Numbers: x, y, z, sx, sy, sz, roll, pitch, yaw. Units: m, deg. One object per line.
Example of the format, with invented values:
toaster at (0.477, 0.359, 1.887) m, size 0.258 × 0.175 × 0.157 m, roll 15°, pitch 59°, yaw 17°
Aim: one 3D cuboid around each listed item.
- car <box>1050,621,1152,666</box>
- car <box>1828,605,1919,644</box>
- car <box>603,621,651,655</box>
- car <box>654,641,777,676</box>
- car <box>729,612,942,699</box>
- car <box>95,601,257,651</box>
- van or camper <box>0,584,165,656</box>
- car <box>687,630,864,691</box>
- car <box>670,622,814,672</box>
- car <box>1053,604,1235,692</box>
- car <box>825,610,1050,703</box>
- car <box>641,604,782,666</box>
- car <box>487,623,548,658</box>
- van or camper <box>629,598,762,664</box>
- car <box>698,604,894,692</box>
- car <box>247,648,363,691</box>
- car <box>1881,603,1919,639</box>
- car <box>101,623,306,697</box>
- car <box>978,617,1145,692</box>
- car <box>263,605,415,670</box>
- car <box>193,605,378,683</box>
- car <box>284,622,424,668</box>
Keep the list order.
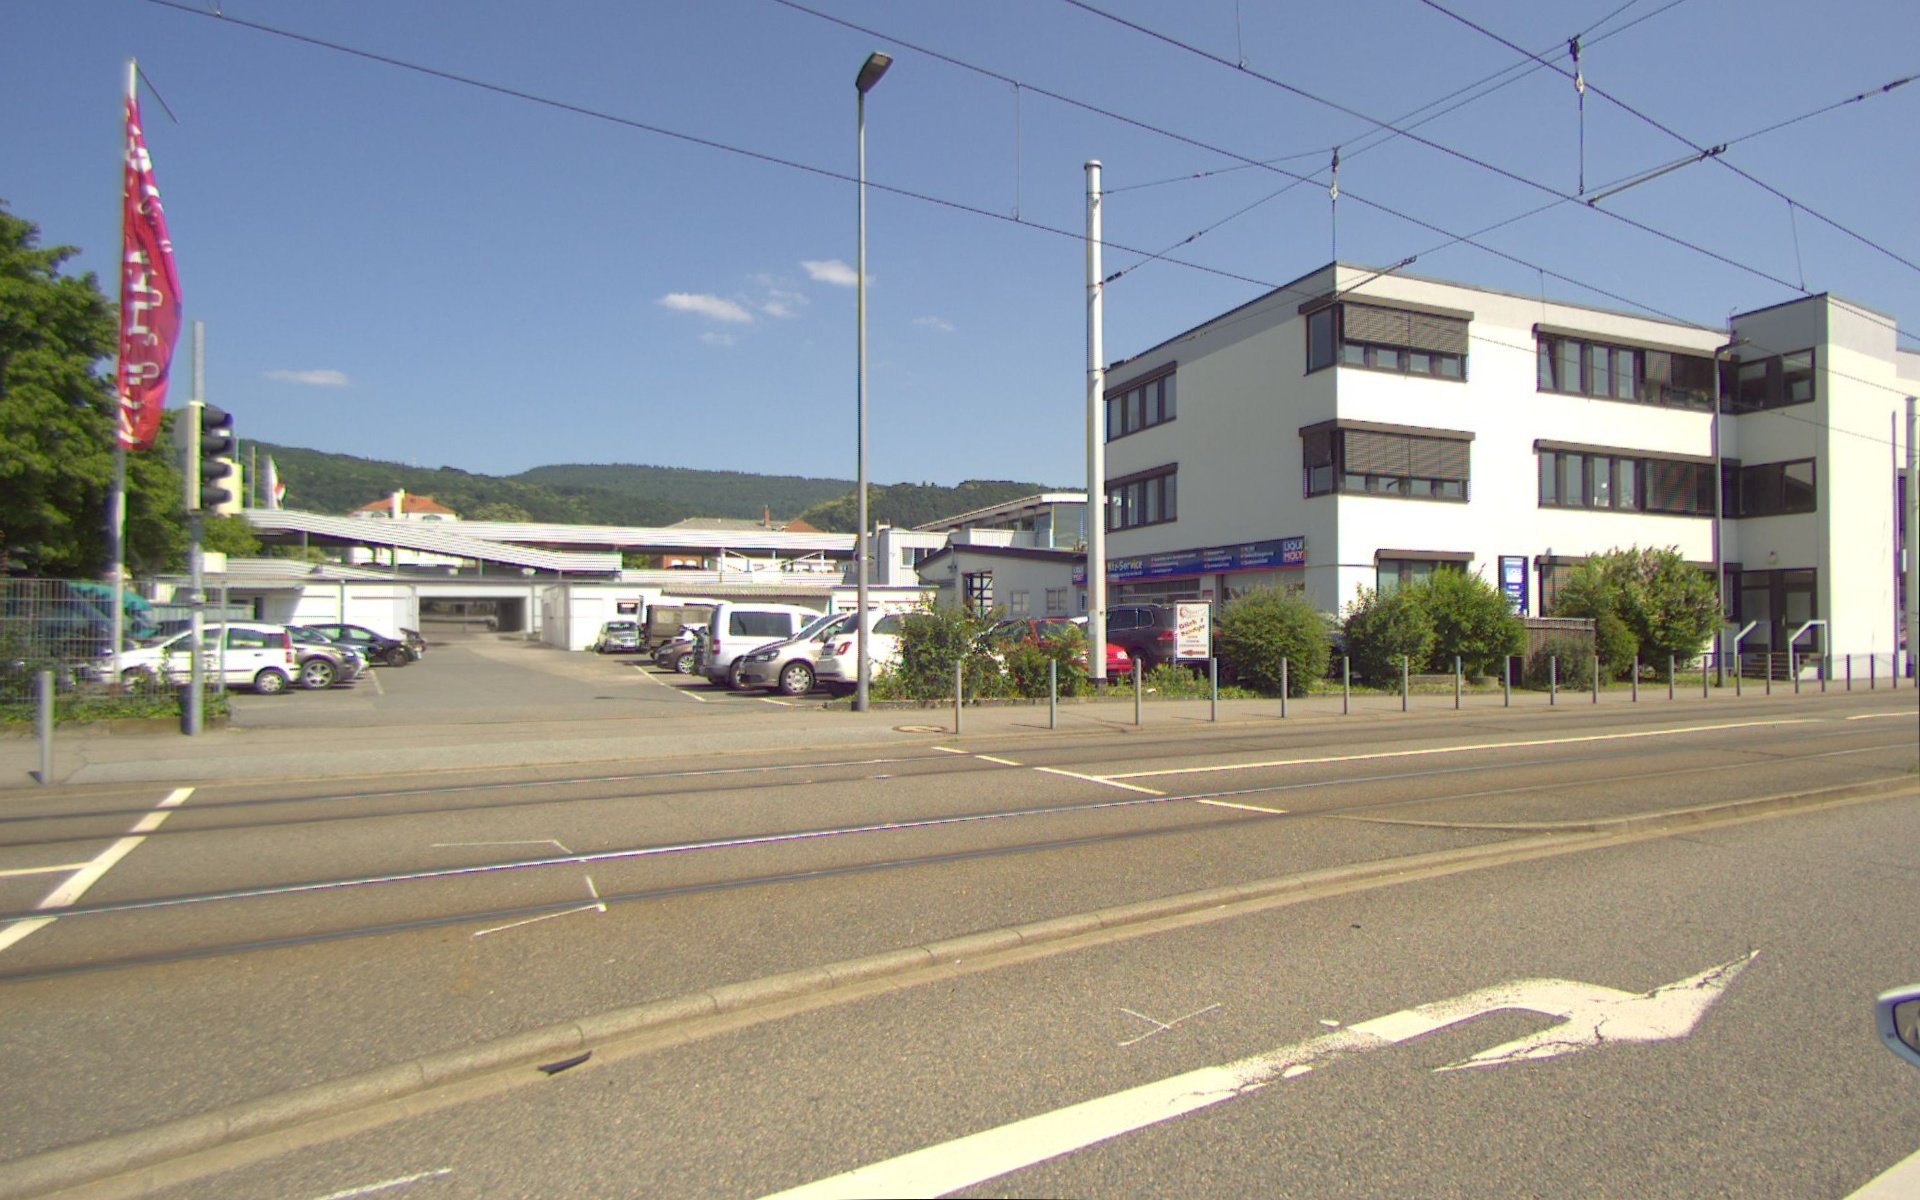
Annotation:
car at (4.689, 1.451, 33.467) m, size 3.082 × 1.445 × 1.417 m, roll 1°, pitch -2°, yaw -17°
car at (39.179, 1.019, 41.949) m, size 1.973 × 1.583 × 3.975 m, roll 1°, pitch -1°, yaw -25°
car at (-14.987, 1.702, 45.308) m, size 1.968 × 1.435 × 3.985 m, roll 1°, pitch -2°, yaw -18°
car at (-7.390, 1.740, 30.310) m, size 3.436 × 0.996 × 1.741 m, roll 1°, pitch -2°, yaw -21°
car at (-2.488, 1.077, 20.011) m, size 3.877 × 1.588 × 1.848 m, roll 1°, pitch -2°, yaw -22°
car at (-25.847, 0.869, 33.313) m, size 3.953 × 1.576 × 1.984 m, roll 1°, pitch -2°, yaw -30°
van or camper at (-26.646, 0.608, 29.652) m, size 4.578 × 2.034 × 1.989 m, roll 1°, pitch -2°, yaw -24°
car at (-4.478, 1.424, 24.260) m, size 3.941 × 1.376 × 1.838 m, roll 1°, pitch -2°, yaw -21°
car at (-7.205, 1.545, 33.152) m, size 4.362 × 1.578 × 1.981 m, roll 1°, pitch -2°, yaw -23°
car at (3.914, 1.003, 22.023) m, size 1.974 × 1.728 × 3.973 m, roll 1°, pitch -2°, yaw -27°
car at (-0.422, 1.000, 18.457) m, size 3.781 × 1.562 × 1.732 m, roll 1°, pitch -1°, yaw -23°
car at (-8.704, 1.224, 35.116) m, size 4.515 × 2.040 × 2.047 m, roll 1°, pitch -1°, yaw -23°
car at (-19.126, 1.715, 43.568) m, size 1.968 × 1.435 × 3.985 m, roll 1°, pitch -2°, yaw -18°
van or camper at (-9.836, 1.140, 37.403) m, size 4.540 × 2.336 × 1.770 m, roll 1°, pitch -1°, yaw -26°
car at (-3.640, 1.041, 22.183) m, size 3.941 × 1.808 × 1.990 m, roll 1°, pitch -2°, yaw -21°
car at (-15.816, 1.657, 24.358) m, size 2.291 × 0.959 × 1.279 m, roll 1°, pitch -2°, yaw -32°
car at (42.647, 0.888, 43.247) m, size 1.973 × 1.539 × 3.975 m, roll -1°, pitch 0°, yaw -25°
car at (-16.283, 1.265, 21.826) m, size 3.349 × 1.504 × 1.506 m, roll 1°, pitch -2°, yaw -30°
car at (1.995, 1.069, 20.757) m, size 1.725 × 1.388 × 3.812 m, roll 1°, pitch -1°, yaw -25°
car at (-20.405, 1.237, 33.213) m, size 3.943 × 2.040 × 1.989 m, roll 1°, pitch -2°, yaw -23°
car at (-18.813, 1.219, 28.243) m, size 3.943 × 2.040 × 1.989 m, roll 1°, pitch -2°, yaw -23°
car at (-21.310, 1.574, 35.524) m, size 3.943 × 1.531 × 1.989 m, roll 1°, pitch -2°, yaw -23°
